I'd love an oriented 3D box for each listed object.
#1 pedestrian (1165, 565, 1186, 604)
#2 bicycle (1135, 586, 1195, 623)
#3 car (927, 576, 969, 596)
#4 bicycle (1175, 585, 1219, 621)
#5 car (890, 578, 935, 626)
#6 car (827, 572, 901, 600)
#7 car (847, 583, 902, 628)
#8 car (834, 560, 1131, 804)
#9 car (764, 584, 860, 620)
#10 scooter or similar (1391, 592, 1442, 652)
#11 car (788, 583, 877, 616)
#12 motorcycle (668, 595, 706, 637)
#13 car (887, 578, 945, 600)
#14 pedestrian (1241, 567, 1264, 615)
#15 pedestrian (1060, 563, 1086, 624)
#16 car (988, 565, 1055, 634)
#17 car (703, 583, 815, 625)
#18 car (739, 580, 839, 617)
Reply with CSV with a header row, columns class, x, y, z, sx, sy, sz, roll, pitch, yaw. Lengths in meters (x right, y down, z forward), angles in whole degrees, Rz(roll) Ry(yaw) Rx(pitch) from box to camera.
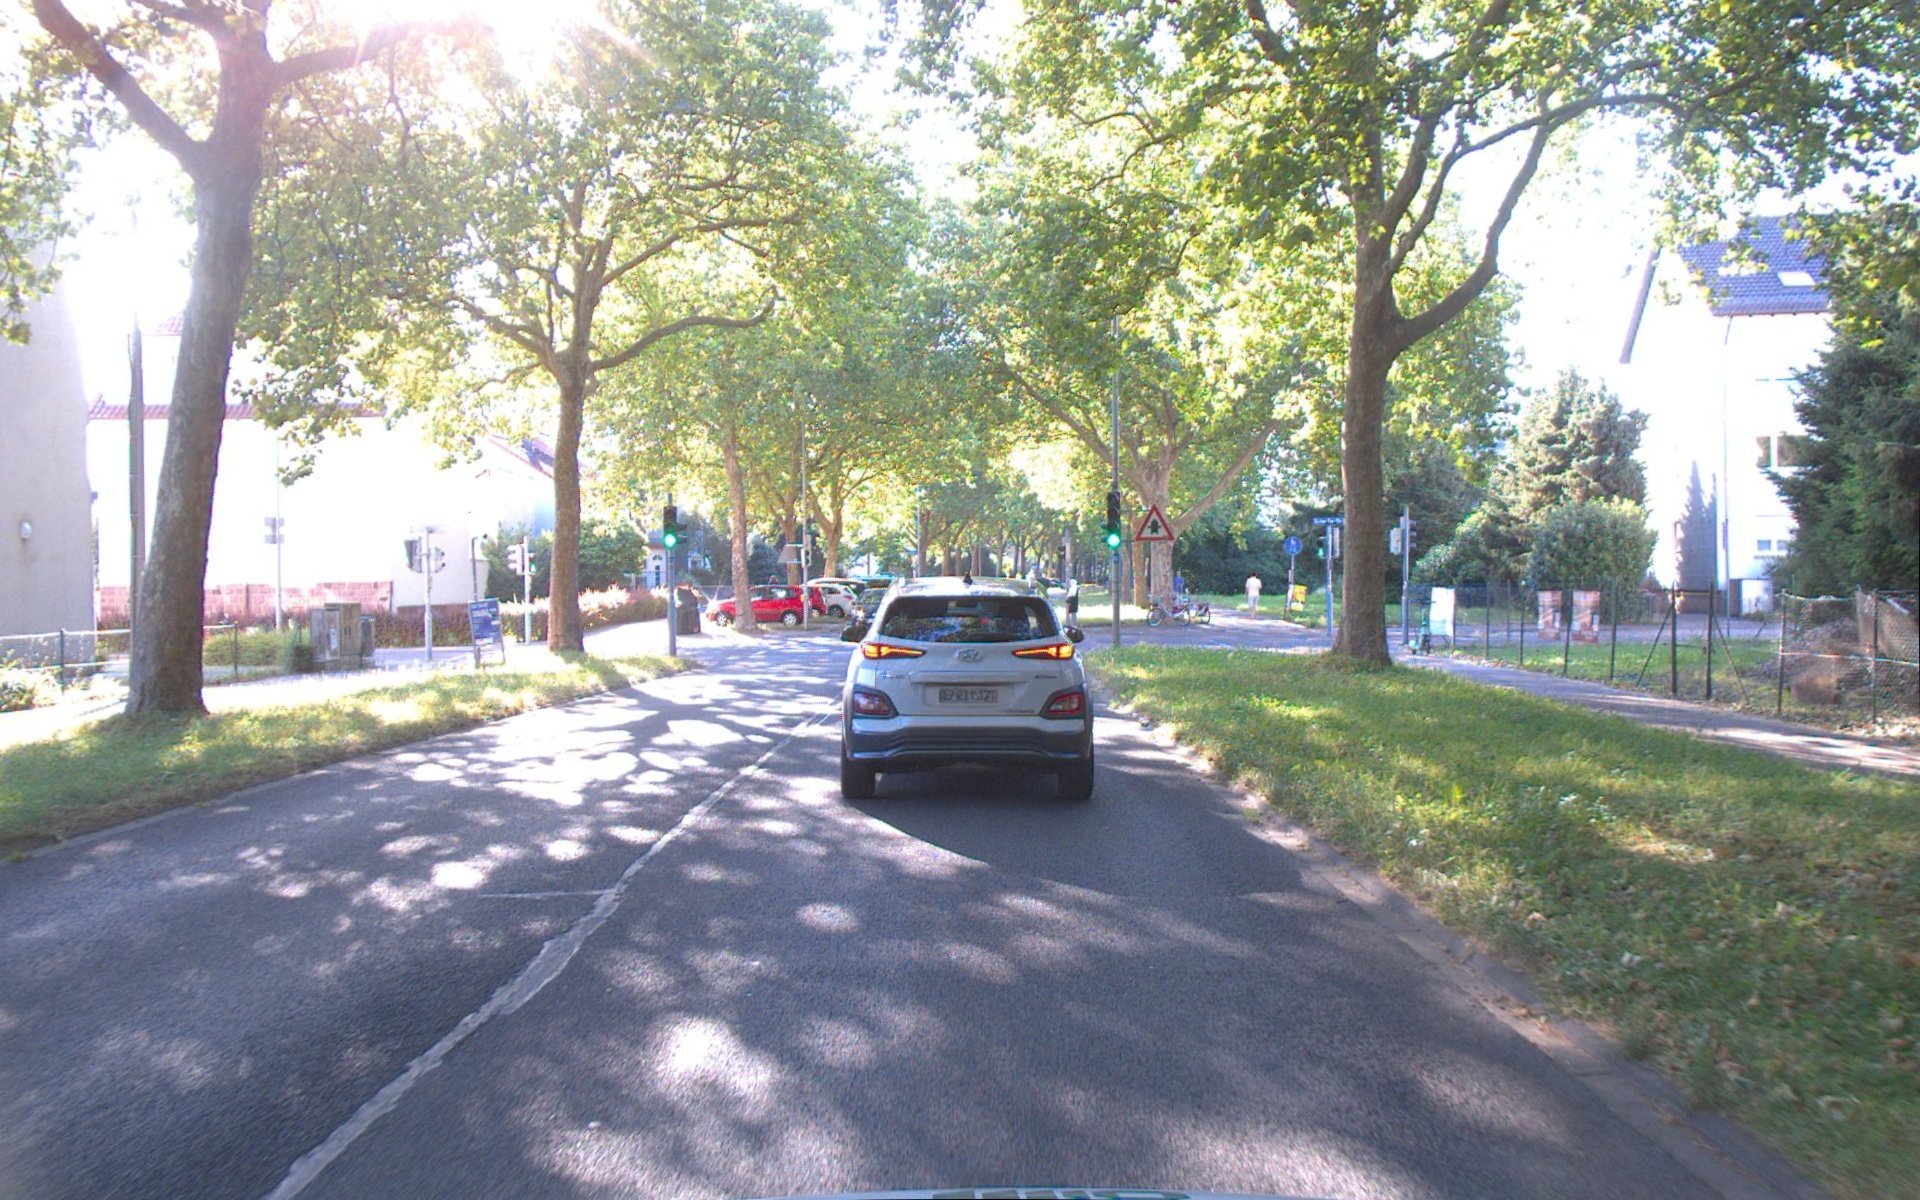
class,x,y,z,sx,sy,sz,roll,pitch,yaw
pedestrian,11.695,-0.860,89.720,1.071,2.049,1.106,-2,0,7
bicycle,6.816,0.142,55.007,0.600,1.184,2.116,0,0,-43
car,-1.115,-1.263,152.777,3.601,1.840,1.745,0,0,-9
bicycle,7.978,0.091,55.789,0.594,1.204,2.107,0,0,-19
car,-1.935,0.093,67.934,1.755,1.914,4.000,0,0,0
car,-5.274,-0.741,90.933,3.905,1.504,2.000,0,0,1
car,-2.935,0.151,57.153,1.653,1.462,3.682,0,1,1
car,0.141,0.533,12.905,1.953,1.602,4.000,0,0,0
car,-6.333,0.078,71.242,3.904,1.504,2.000,0,0,1
scooter or similar,10.115,0.470,36.696,0.538,1.280,2.313,0,0,1
car,-5.830,-0.014,76.141,3.905,1.504,2.000,0,0,1
motorcycle,-9.349,0.519,56.727,0.829,1.403,2.776,0,0,0
car,-3.023,-0.728,114.799,3.905,1.504,2.000,0,0,1
pedestrian,10.704,-0.329,60.547,0.816,1.766,0.886,0,0,8
pedestrian,3.861,-0.224,56.489,0.849,2.049,0.814,0,0,8
car,1.876,-0.031,51.509,1.952,2.049,4.001,-1,1,1
car,-7.419,0.142,61.353,3.905,1.504,2.000,0,0,1
car,-7.105,-0.081,68.933,3.905,1.504,2.000,0,0,1
